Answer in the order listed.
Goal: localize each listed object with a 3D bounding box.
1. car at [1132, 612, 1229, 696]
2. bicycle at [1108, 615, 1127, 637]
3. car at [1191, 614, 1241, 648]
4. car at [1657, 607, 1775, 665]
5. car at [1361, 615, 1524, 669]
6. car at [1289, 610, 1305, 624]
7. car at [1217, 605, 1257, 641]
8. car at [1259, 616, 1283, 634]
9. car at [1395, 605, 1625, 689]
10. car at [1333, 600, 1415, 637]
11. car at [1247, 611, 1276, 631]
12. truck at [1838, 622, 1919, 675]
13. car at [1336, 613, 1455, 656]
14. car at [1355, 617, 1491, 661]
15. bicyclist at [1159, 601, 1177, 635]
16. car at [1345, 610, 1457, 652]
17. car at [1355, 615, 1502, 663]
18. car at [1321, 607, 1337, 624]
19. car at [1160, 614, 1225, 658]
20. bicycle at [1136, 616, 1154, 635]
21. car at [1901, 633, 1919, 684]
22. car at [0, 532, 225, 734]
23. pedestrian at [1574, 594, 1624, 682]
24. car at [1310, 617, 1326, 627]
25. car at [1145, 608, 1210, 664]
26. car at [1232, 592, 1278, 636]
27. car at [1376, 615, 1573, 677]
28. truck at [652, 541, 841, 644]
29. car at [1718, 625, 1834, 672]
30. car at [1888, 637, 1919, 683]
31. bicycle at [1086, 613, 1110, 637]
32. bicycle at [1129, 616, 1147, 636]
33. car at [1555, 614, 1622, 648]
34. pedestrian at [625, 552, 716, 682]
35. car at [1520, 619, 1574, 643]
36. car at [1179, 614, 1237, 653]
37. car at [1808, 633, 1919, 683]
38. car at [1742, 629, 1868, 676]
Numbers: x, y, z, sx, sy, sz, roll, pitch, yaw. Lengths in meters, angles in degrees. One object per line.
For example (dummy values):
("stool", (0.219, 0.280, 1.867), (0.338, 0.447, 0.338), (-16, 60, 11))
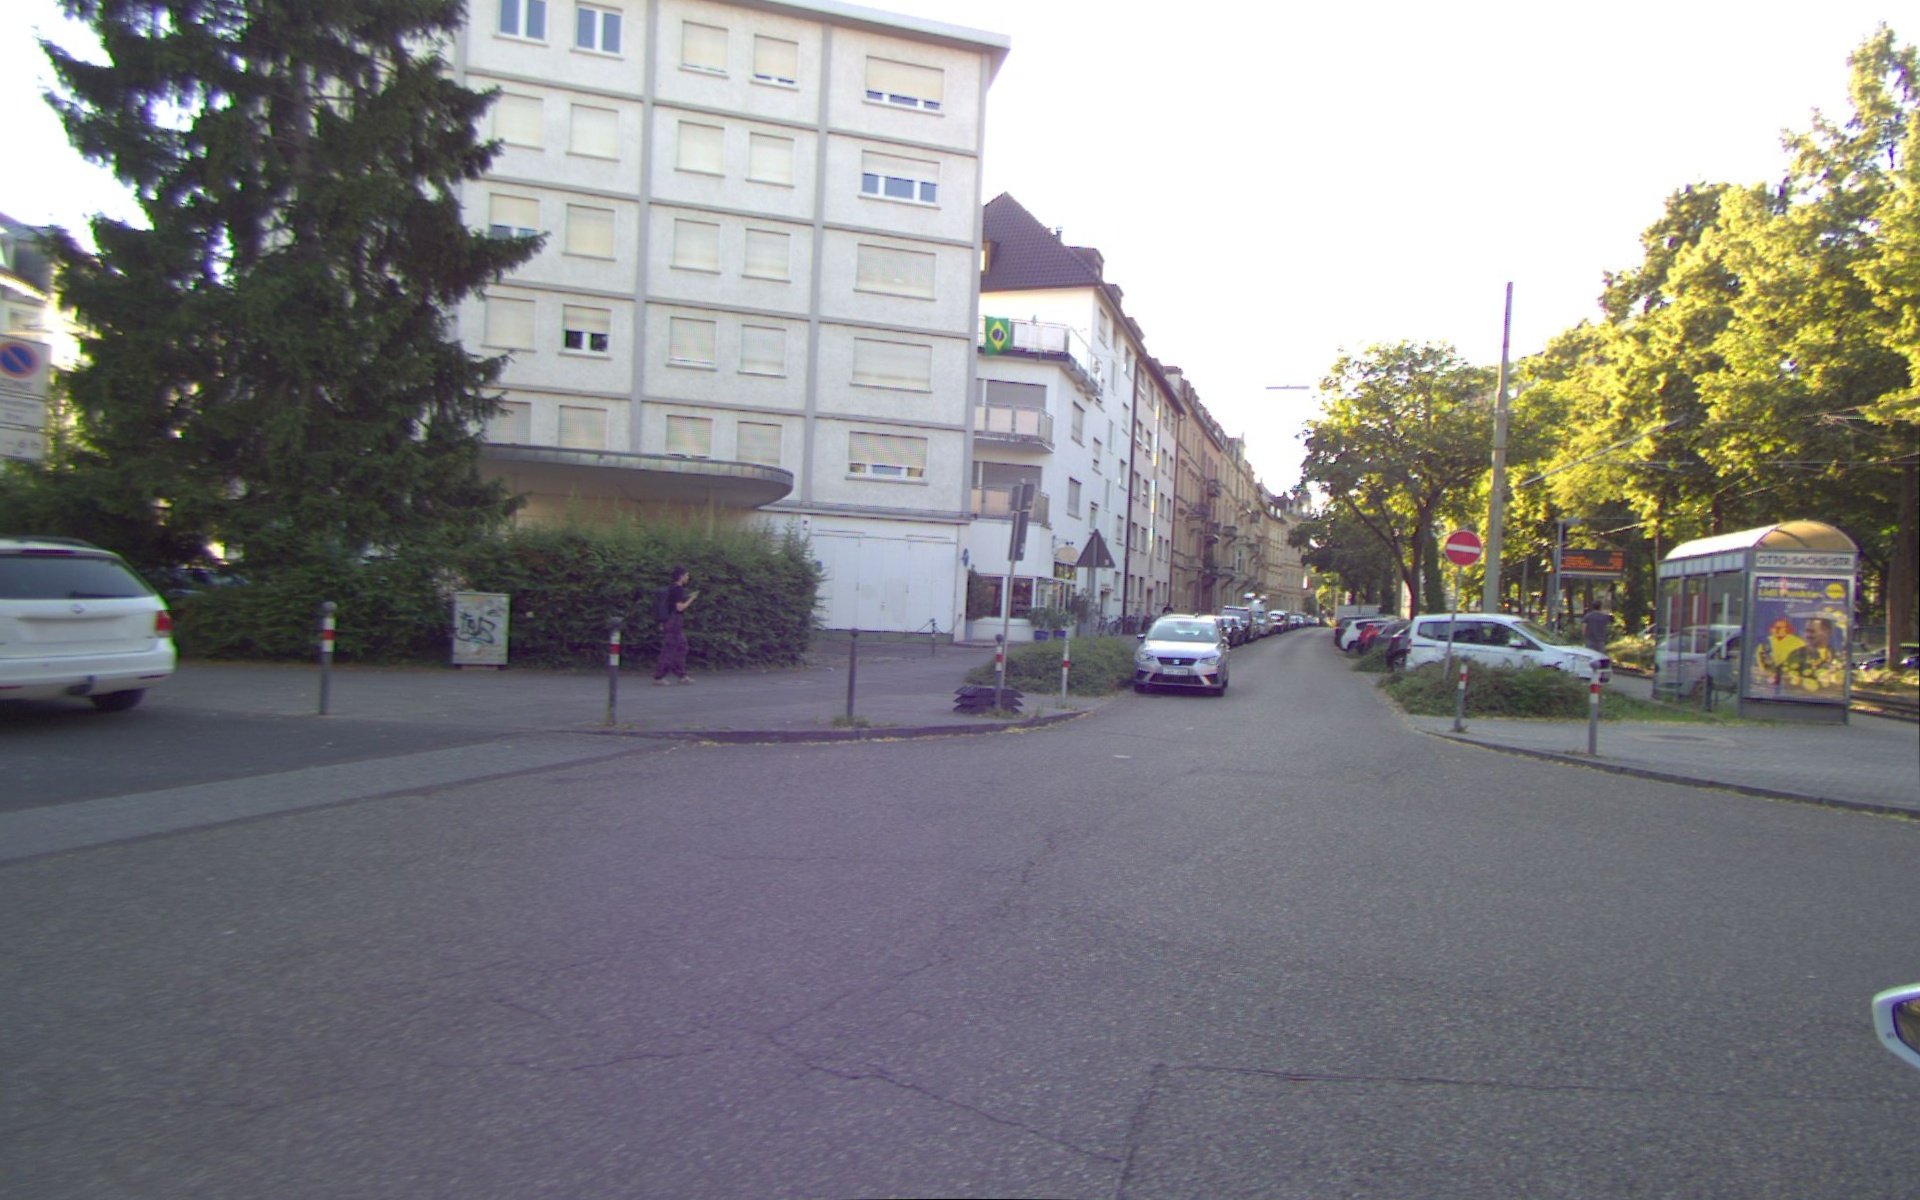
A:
("car", (4.551, 1.007, 20.328), (1.682, 1.465, 4.002), (1, 0, 15))
("bicycle", (7.855, 1.291, 50.030), (0.522, 1.016, 2.176), (3, 0, 19))
("car", (12.059, 1.423, 47.192), (1.683, 1.465, 3.998), (1, 0, 23))
("car", (39.081, 1.829, 52.027), (1.804, 2.508, 4.449), (5, 1, -39))
("car", (14.717, 1.289, 30.786), (1.597, 1.528, 4.185), (0, -2, -45))
("car", (46.422, 2.333, 138.239), (1.683, 1.844, 3.997), (1, 0, 24))
("car", (15.853, 1.301, 57.468), (1.683, 1.958, 3.998), (1, 0, 23))
("car", (26.753, 2.132, 86.325), (1.683, 1.465, 3.999), (1, 0, 22))
("car", (12.069, 1.011, 22.282), (1.593, 1.674, 4.195), (0, -2, -38))
("car", (30.974, 1.398, 75.217), (2.256, 2.605, 5.206), (0, -2, -41))
("car", (23.351, 1.580, 77.727), (1.683, 1.465, 3.998), (1, 0, 23))
("truck", (44.879, 2.296, 48.407), (2.327, 2.383, 4.383), (2, 0, 20))
("car", (18.009, 1.445, 41.681), (1.838, 1.673, 4.203), (0, -2, -33))
("car", (16.698, 1.411, 36.343), (1.597, 1.478, 4.185), (0, -2, -45))
("bicyclist", (10.371, 0.911, 50.147), (0.700, 1.638, 0.723), (2, 0, 21))
("car", (19.482, 1.389, 44.529), (1.838, 1.772, 4.203), (0, -2, -33))
("car", (15.688, 1.307, 33.765), (1.597, 1.478, 4.185), (0, -2, -45))
("car", (60.754, 2.560, 165.283), (1.685, 2.596, 5.558), (1, 0, 28))
("car", (8.662, 1.288, 37.161), (1.683, 1.465, 3.998), (1, 0, 23))
("bicycle", (10.510, 1.414, 57.054), (0.616, 1.016, 2.176), (3, 0, 19))
("car", (30.691, 1.947, 29.835), (3.771, 1.516, 1.730), (6, 1, 40))
("car", (-8.698, 0.158, 8.657), (4.213, 1.470, 1.922), (2, 1, 23))
("pedestrian", (14.672, 0.855, 23.059), (0.837, 1.936, 0.835), (2, 0, 37))
("car", (55.742, 3.353, 156.376), (1.685, 1.465, 3.994), (1, 0, 28))
("car", (7.160, 1.117, 32.819), (1.682, 1.695, 4.001), (1, 0, 18))
("car", (21.161, 0.991, 71.926), (2.511, 2.926, 5.479), (1, 0, 23))
("car", (13.079, 1.160, 25.702), (1.689, 1.455, 4.151), (0, -2, -45))
("truck", (-5.911, -0.172, 27.956), (4.889, 2.568, 1.994), (2, 0, -14))
("car", (35.397, 2.096, 43.664), (3.771, 1.608, 1.730), (6, 1, 40))
("car", (32.064, 2.082, 31.771), (3.771, 1.409, 1.730), (6, 1, 40))
("bicycle", (6.004, 1.082, 43.688), (0.523, 1.016, 2.175), (3, 0, 20))
("bicycle", (9.515, 1.374, 53.650), (0.616, 1.016, 2.176), (3, 0, 19))
("car", (50.180, 2.467, 80.275), (1.804, 2.239, 4.046), (5, 1, -39))
("pedestrian", (-4.143, 0.241, 14.404), (0.814, 1.759, 0.871), (4, 1, 19))
("car", (56.885, 2.983, 97.371), (1.804, 1.812, 4.046), (5, 1, -39))
("car", (10.251, 1.343, 41.342), (1.683, 1.465, 3.998), (1, 0, 23))
("car", (32.487, 2.072, 35.450), (3.771, 1.409, 1.730), (6, 1, 40))
("car", (34.380, 2.133, 40.998), (3.771, 1.440, 1.730), (6, 1, 40))
